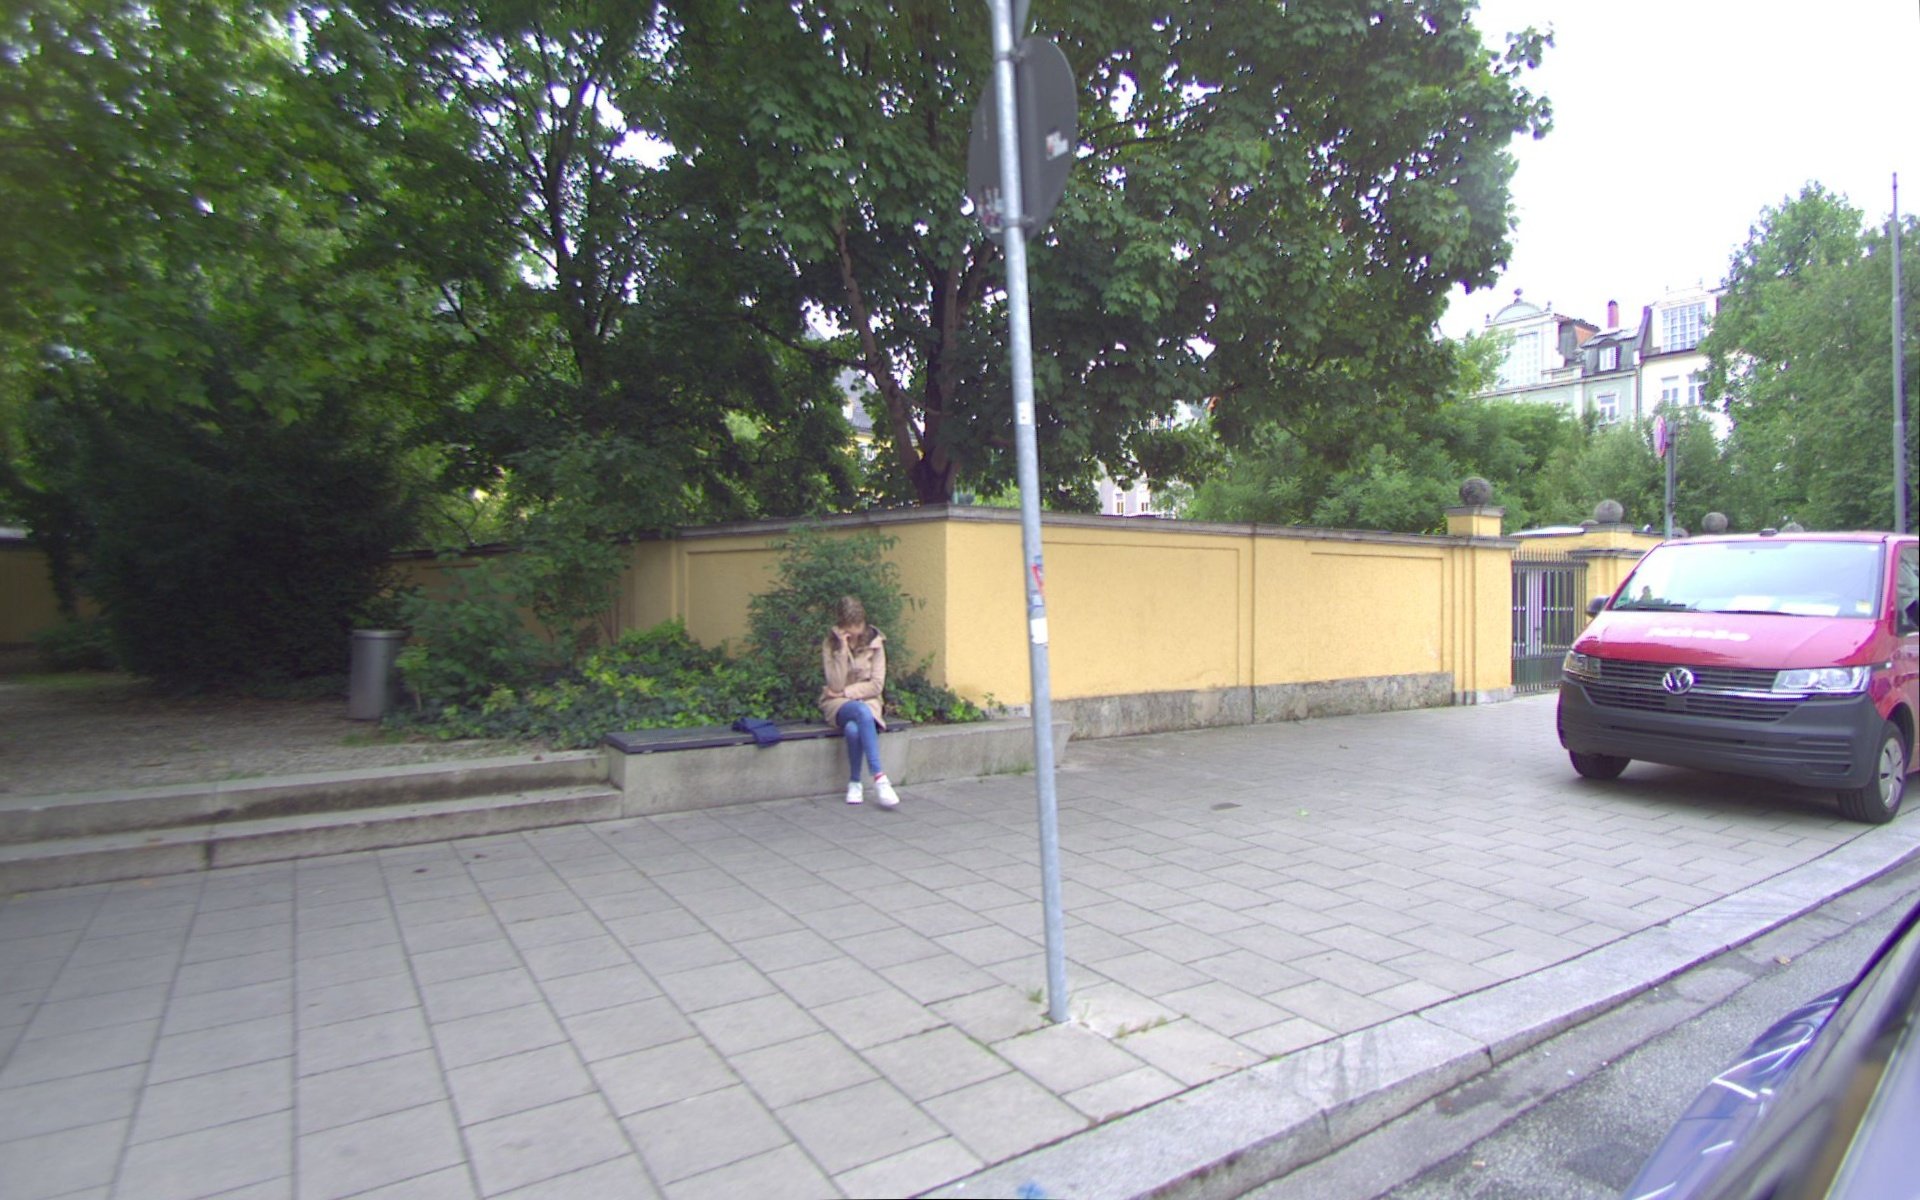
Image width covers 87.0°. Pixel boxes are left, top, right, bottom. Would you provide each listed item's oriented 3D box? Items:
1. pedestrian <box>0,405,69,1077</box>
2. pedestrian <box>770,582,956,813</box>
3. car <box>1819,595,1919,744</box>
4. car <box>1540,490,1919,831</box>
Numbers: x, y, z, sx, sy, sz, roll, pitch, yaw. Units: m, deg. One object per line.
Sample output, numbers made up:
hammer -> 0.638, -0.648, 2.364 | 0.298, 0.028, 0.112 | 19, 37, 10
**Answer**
pedestrian -> -3.121, 0.377, 2.635 | 1.031, 1.793, 0.877 | -1, 0, -30
pedestrian -> -0.654, 0.568, 6.605 | 0.859, 1.355, 1.014 | -1, 0, -30
car -> 11.331, 0.660, 11.157 | 4.287, 1.467, 1.889 | -1, -1, -37
car -> 6.727, 0.334, 7.922 | 4.794, 1.945, 1.880 | -1, -1, -35
